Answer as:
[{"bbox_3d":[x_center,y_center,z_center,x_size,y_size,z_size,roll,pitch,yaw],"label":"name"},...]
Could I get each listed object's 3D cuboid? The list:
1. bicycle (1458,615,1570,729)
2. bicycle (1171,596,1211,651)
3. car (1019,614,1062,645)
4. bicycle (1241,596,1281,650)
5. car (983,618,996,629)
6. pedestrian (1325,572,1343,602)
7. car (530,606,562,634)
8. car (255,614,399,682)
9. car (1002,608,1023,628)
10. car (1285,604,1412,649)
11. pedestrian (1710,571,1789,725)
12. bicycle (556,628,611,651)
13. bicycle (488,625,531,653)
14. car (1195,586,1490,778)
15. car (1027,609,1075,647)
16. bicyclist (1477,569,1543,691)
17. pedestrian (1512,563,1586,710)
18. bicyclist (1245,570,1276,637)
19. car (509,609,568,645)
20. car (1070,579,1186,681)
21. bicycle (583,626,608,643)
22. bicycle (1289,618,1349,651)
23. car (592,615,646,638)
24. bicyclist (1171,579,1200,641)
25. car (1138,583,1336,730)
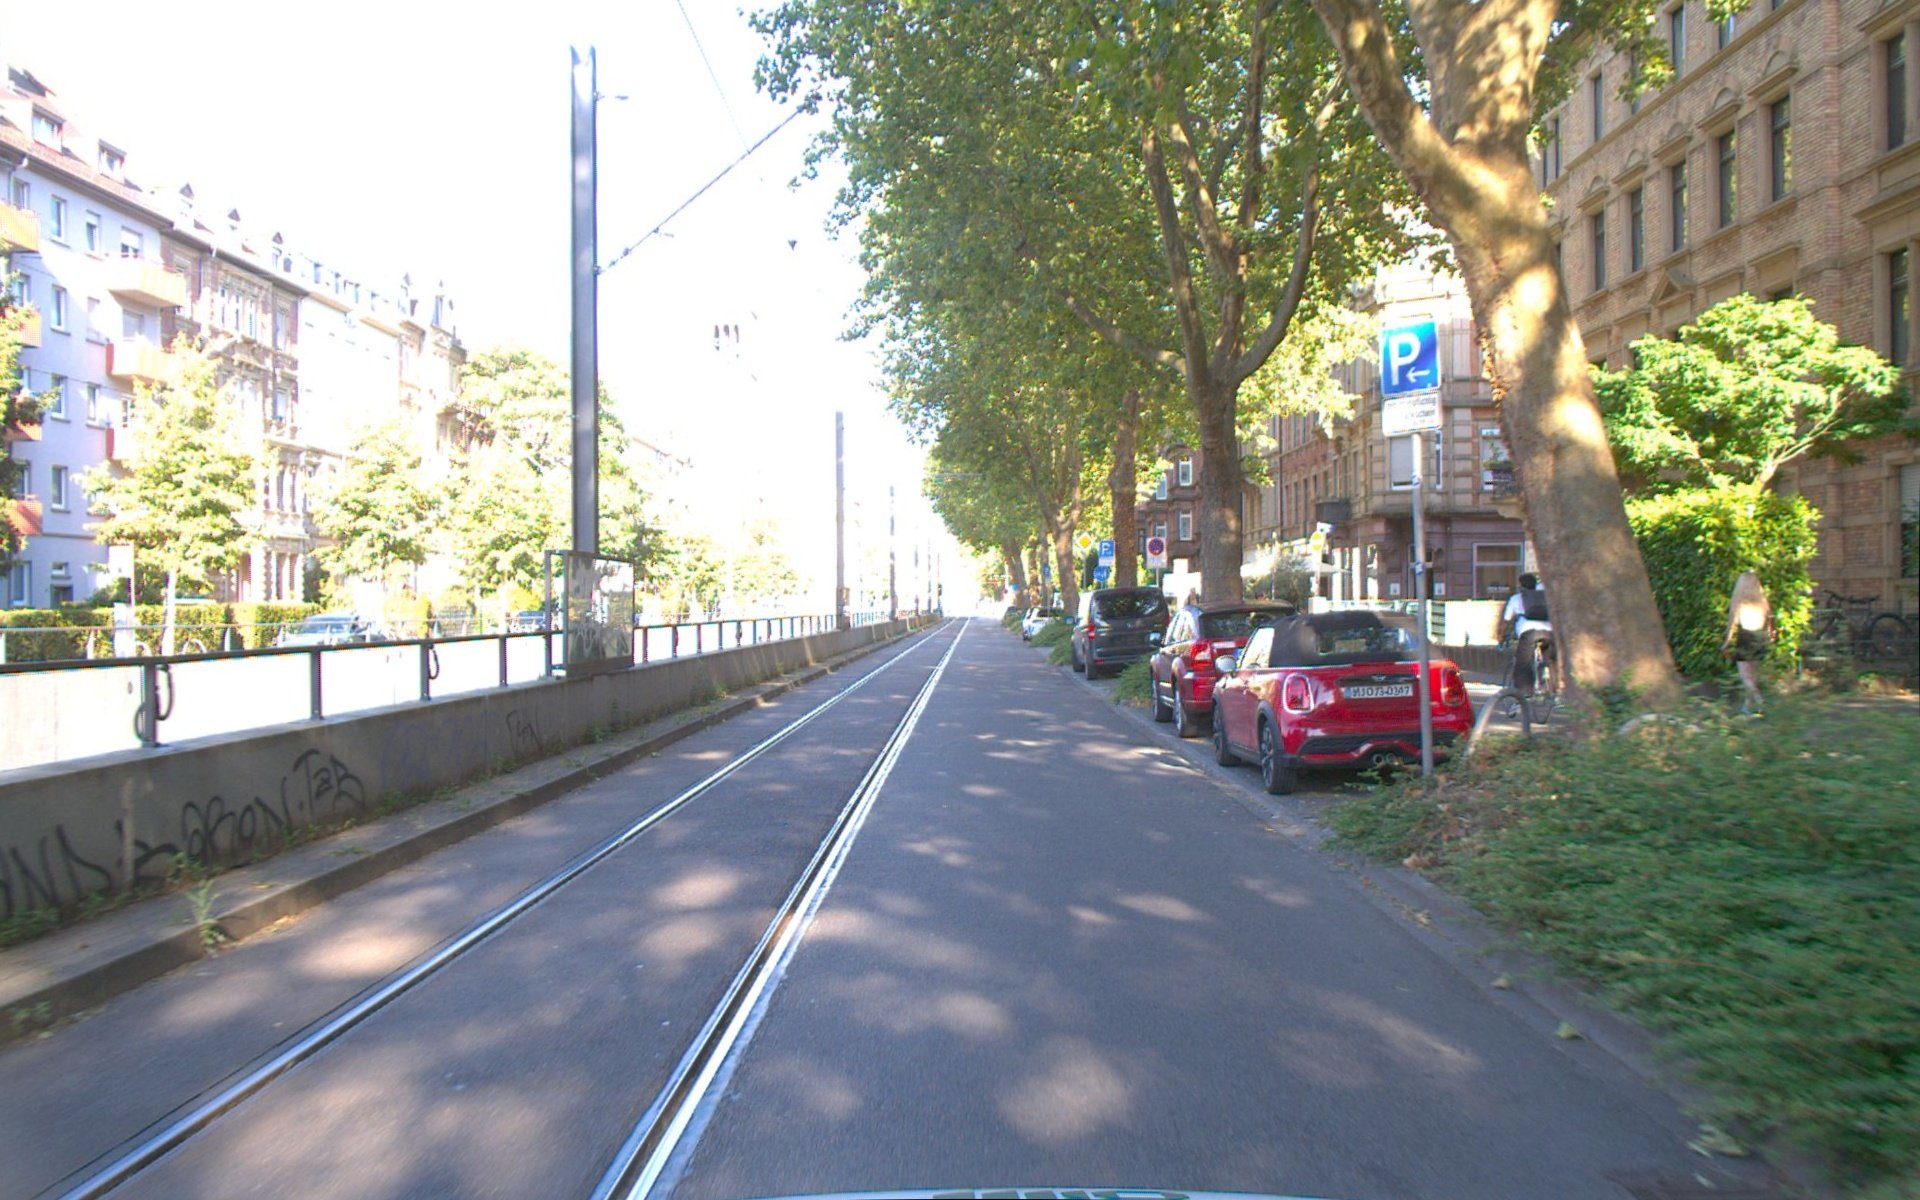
[{"bbox_3d":[6.503,0.813,19.520,0.549,1.199,2.226,0,1,-1],"label":"bicycle"},{"bbox_3d":[5.314,0.551,38.167,0.549,1.199,2.225,3,-1,0],"label":"bicycle"},{"bbox_3d":[3.608,1.299,74.514,1.792,1.350,4.000,-1,0,1],"label":"car"},{"bbox_3d":[6.916,0.529,38.056,0.549,1.199,2.021,0,-1,0],"label":"bicycle"},{"bbox_3d":[4.221,3.358,236.785,1.709,1.487,3.644,2,0,0],"label":"car"},{"bbox_3d":[14.391,-0.501,63.618,0.545,1.158,0.526,-1,-1,0],"label":"pedestrian"},{"bbox_3d":[-30.016,1.440,119.994,1.958,1.881,4.468,2,0,-11],"label":"car"},{"bbox_3d":[-15.839,1.170,41.649,1.930,1.531,4.407,2,0,-1],"label":"car"},{"bbox_3d":[4.431,1.538,139.014,1.583,1.615,4.416,-2,-1,0],"label":"car"},{"bbox_3d":[13.280,0.903,56.685,3.907,1.388,1.742,-1,1,-3],"label":"car"},{"bbox_3d":[8.730,0.520,18.295,0.519,1.656,0.618,-3,1,1],"label":"pedestrian"},{"bbox_3d":[-19.747,2.067,86.695,2.751,1.118,0.636,2,-1,-32],"label":"bicycle"},{"bbox_3d":[-20.545,1.782,75.414,1.770,1.199,0.562,2,-1,3],"label":"bicycle"},{"bbox_3d":[3.262,0.685,14.888,1.679,1.488,3.999,0,-1,-1],"label":"car"},{"bbox_3d":[3.774,1.142,69.292,1.765,1.503,4.646,-1,0,0],"label":"car"},{"bbox_3d":[6.486,0.343,19.512,0.532,1.404,0.644,-1,1,-1],"label":"bicyclist"},{"bbox_3d":[7.443,0.451,20.916,0.675,1.816,0.644,-1,1,-1],"label":"pedestrian"},{"bbox_3d":[6.903,0.078,37.985,0.558,1.513,0.644,-1,-1,0],"label":"bicyclist"},{"bbox_3d":[-20.063,1.256,78.847,1.795,1.613,3.999,2,0,-2],"label":"car"},{"bbox_3d":[3.665,0.611,36.972,1.953,2.049,5.201,-2,0,-1],"label":"car"},{"bbox_3d":[-20.213,1.911,91.785,1.251,0.921,0.534,2,-1,-30],"label":"bicycle"},{"bbox_3d":[10.798,1.030,49.778,1.660,0.933,0.601,-1,-1,-11],"label":"bicycle"},{"bbox_3d":[-25.827,2.005,125.400,3.913,1.653,1.822,1,0,-9],"label":"car"},{"bbox_3d":[5.215,0.228,38.239,0.558,1.405,0.644,-1,-2,0],"label":"bicyclist"},{"bbox_3d":[3.338,0.672,20.732,1.679,1.576,4.500,-2,-1,0],"label":"car"}]
